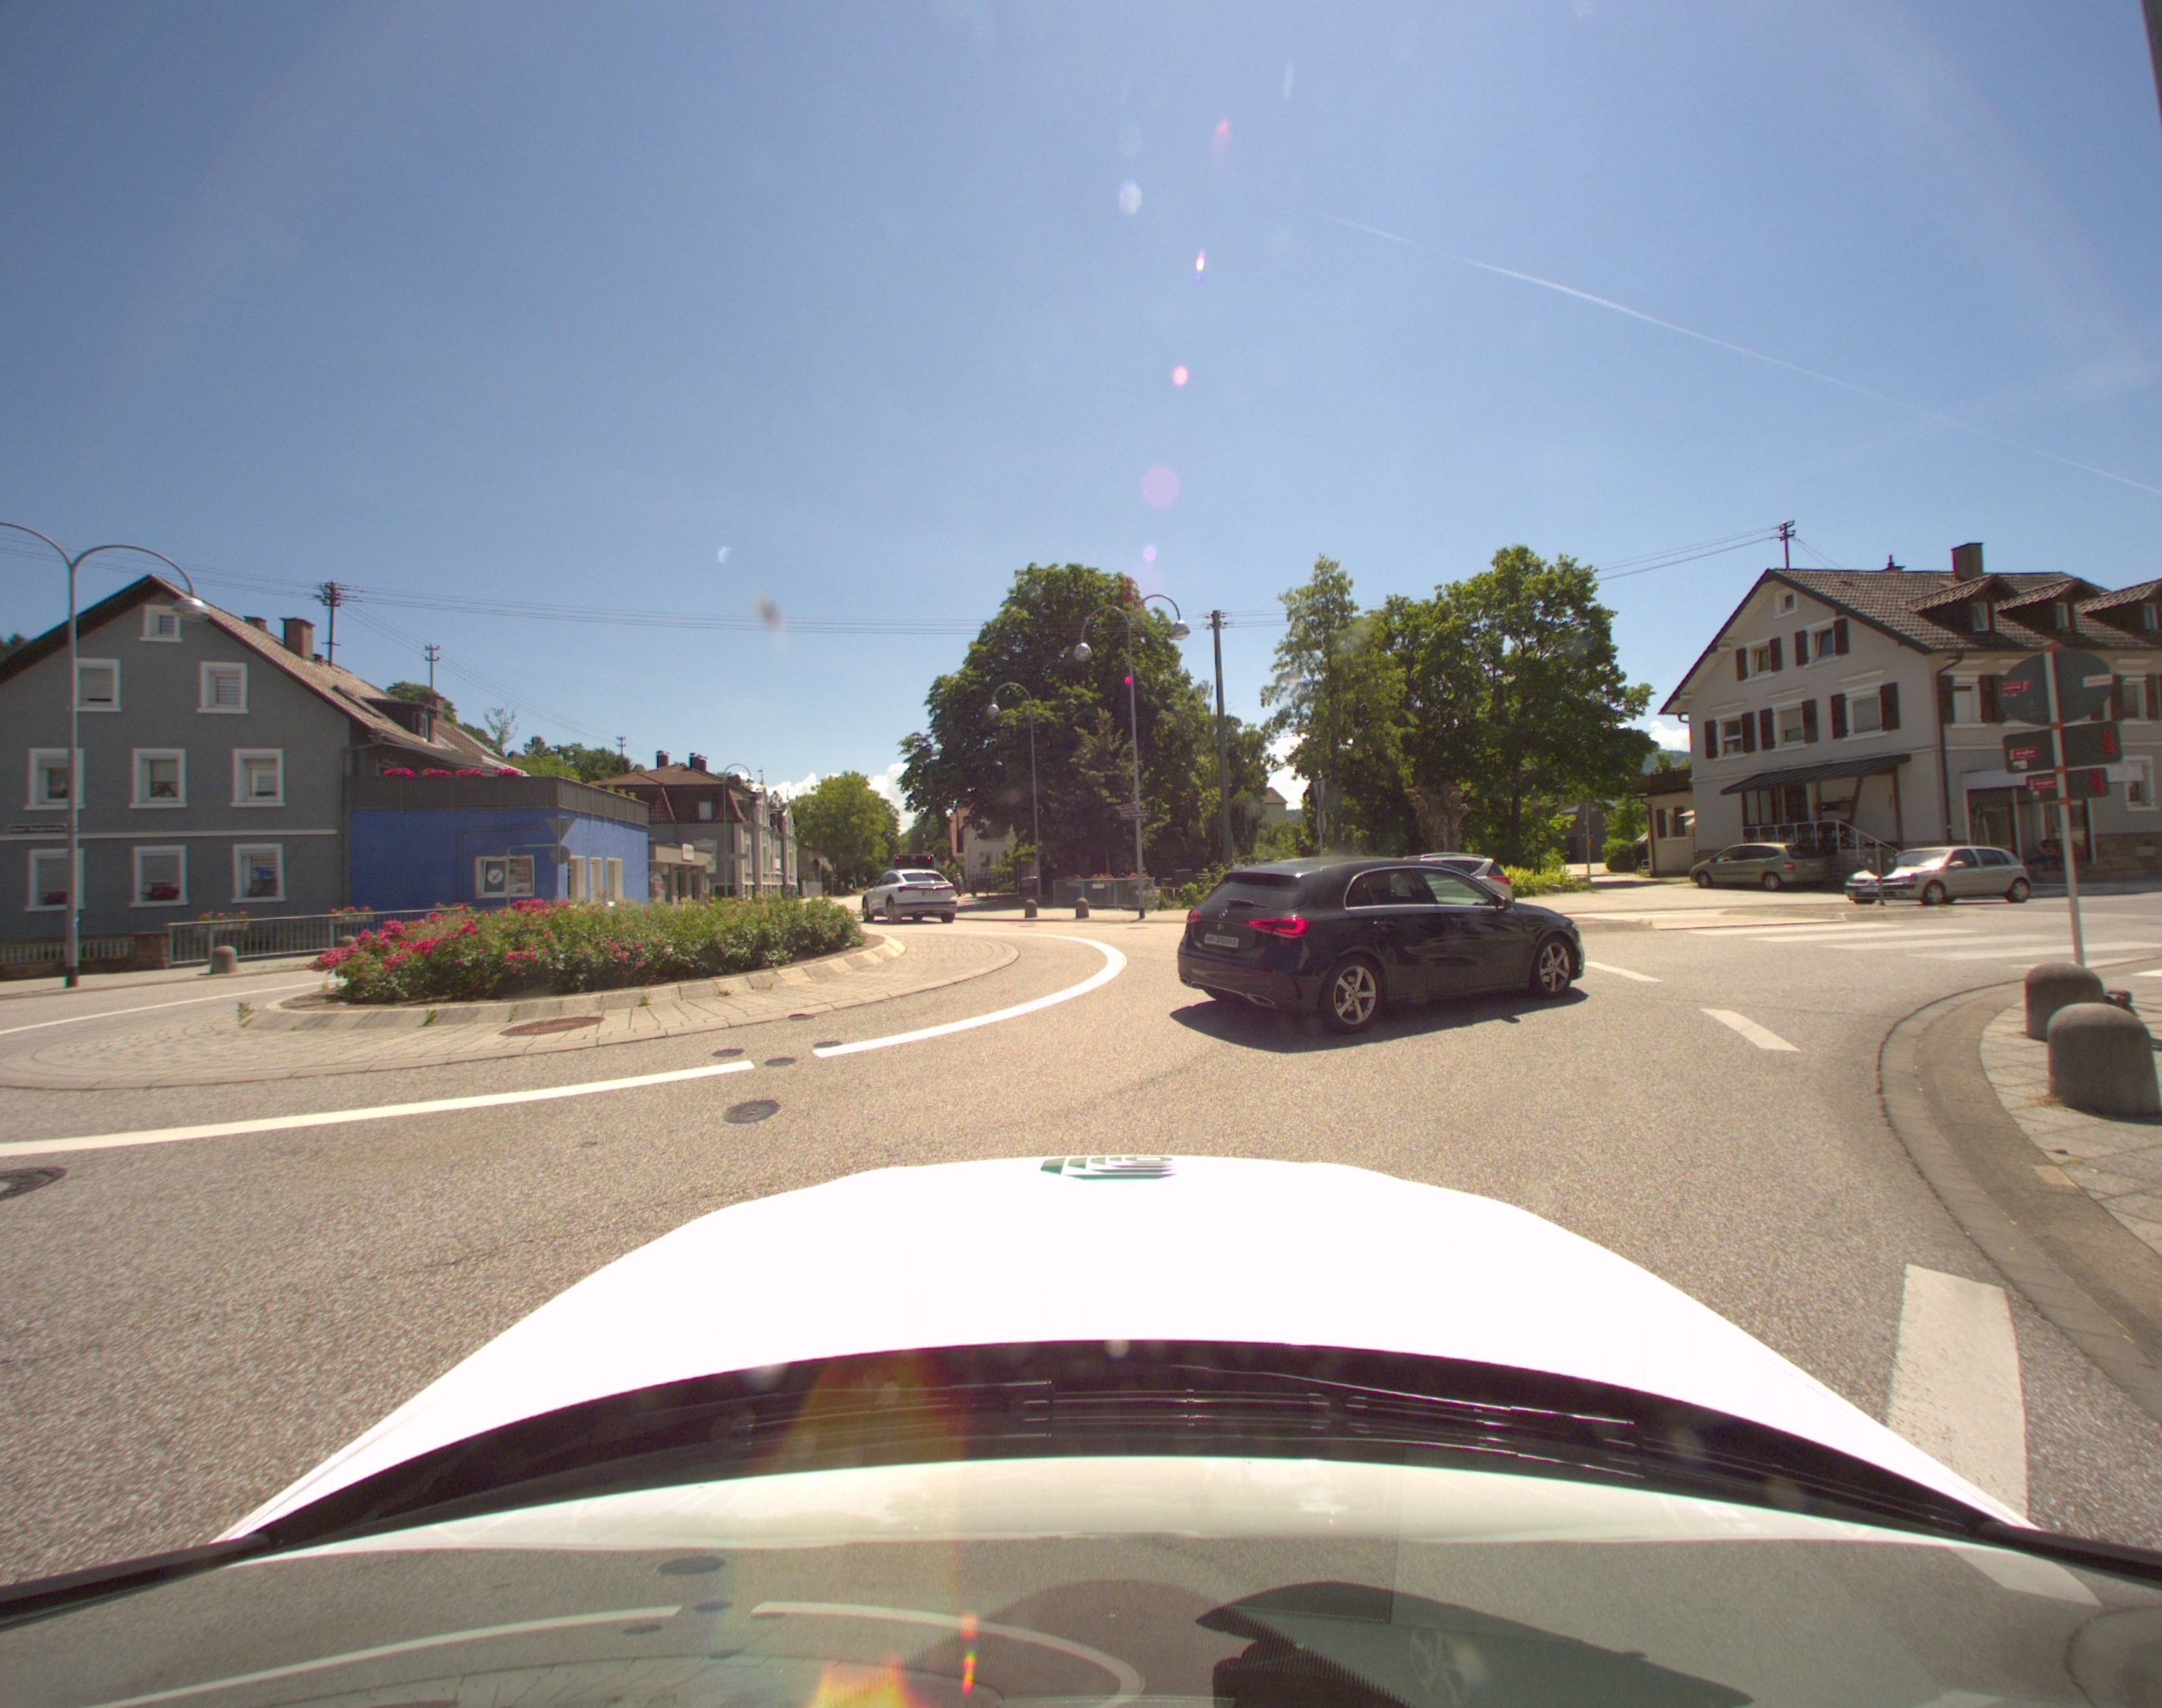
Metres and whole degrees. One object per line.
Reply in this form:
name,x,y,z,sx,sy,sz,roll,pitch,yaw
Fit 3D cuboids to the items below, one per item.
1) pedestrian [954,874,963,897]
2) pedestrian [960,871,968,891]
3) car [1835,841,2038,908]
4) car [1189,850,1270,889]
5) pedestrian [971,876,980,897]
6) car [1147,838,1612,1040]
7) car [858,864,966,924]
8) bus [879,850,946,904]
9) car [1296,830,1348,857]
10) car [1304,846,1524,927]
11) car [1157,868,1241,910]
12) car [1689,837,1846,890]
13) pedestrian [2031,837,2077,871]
pedestrian,-9.049,2.341,60.077,0.503,1.650,0.576,-2,-1,-16
pedestrian,-8.840,2.025,61.571,0.490,1.522,0.539,-2,-1,-16
car,20.720,0.492,19.772,3.706,1.412,1.545,-2,-1,-10
car,8.390,0.892,46.209,3.948,2.014,2.013,-3,-2,39
pedestrian,-7.427,2.273,57.359,0.490,1.454,0.527,-2,-1,-16
car,3.014,0.634,8.004,4.449,1.457,1.752,-2,0,-28
car,-5.345,1.229,25.293,1.911,1.662,4.365,0,-2,-31
bus,-11.545,1.671,57.519,3.705,3.172,18.009,0,-2,-9
car,19.863,-0.846,67.204,3.957,2.014,2.008,-3,-1,15
car,7.327,0.681,18.076,4.195,1.516,1.739,-2,-1,-11
car,4.998,1.460,34.453,3.064,1.553,1.621,-2,-1,-24
car,23.670,0.339,28.304,1.751,1.640,3.989,-2,-1,-8
pedestrian,31.023,-0.002,25.976,0.698,1.054,0.669,-2,-1,-12
